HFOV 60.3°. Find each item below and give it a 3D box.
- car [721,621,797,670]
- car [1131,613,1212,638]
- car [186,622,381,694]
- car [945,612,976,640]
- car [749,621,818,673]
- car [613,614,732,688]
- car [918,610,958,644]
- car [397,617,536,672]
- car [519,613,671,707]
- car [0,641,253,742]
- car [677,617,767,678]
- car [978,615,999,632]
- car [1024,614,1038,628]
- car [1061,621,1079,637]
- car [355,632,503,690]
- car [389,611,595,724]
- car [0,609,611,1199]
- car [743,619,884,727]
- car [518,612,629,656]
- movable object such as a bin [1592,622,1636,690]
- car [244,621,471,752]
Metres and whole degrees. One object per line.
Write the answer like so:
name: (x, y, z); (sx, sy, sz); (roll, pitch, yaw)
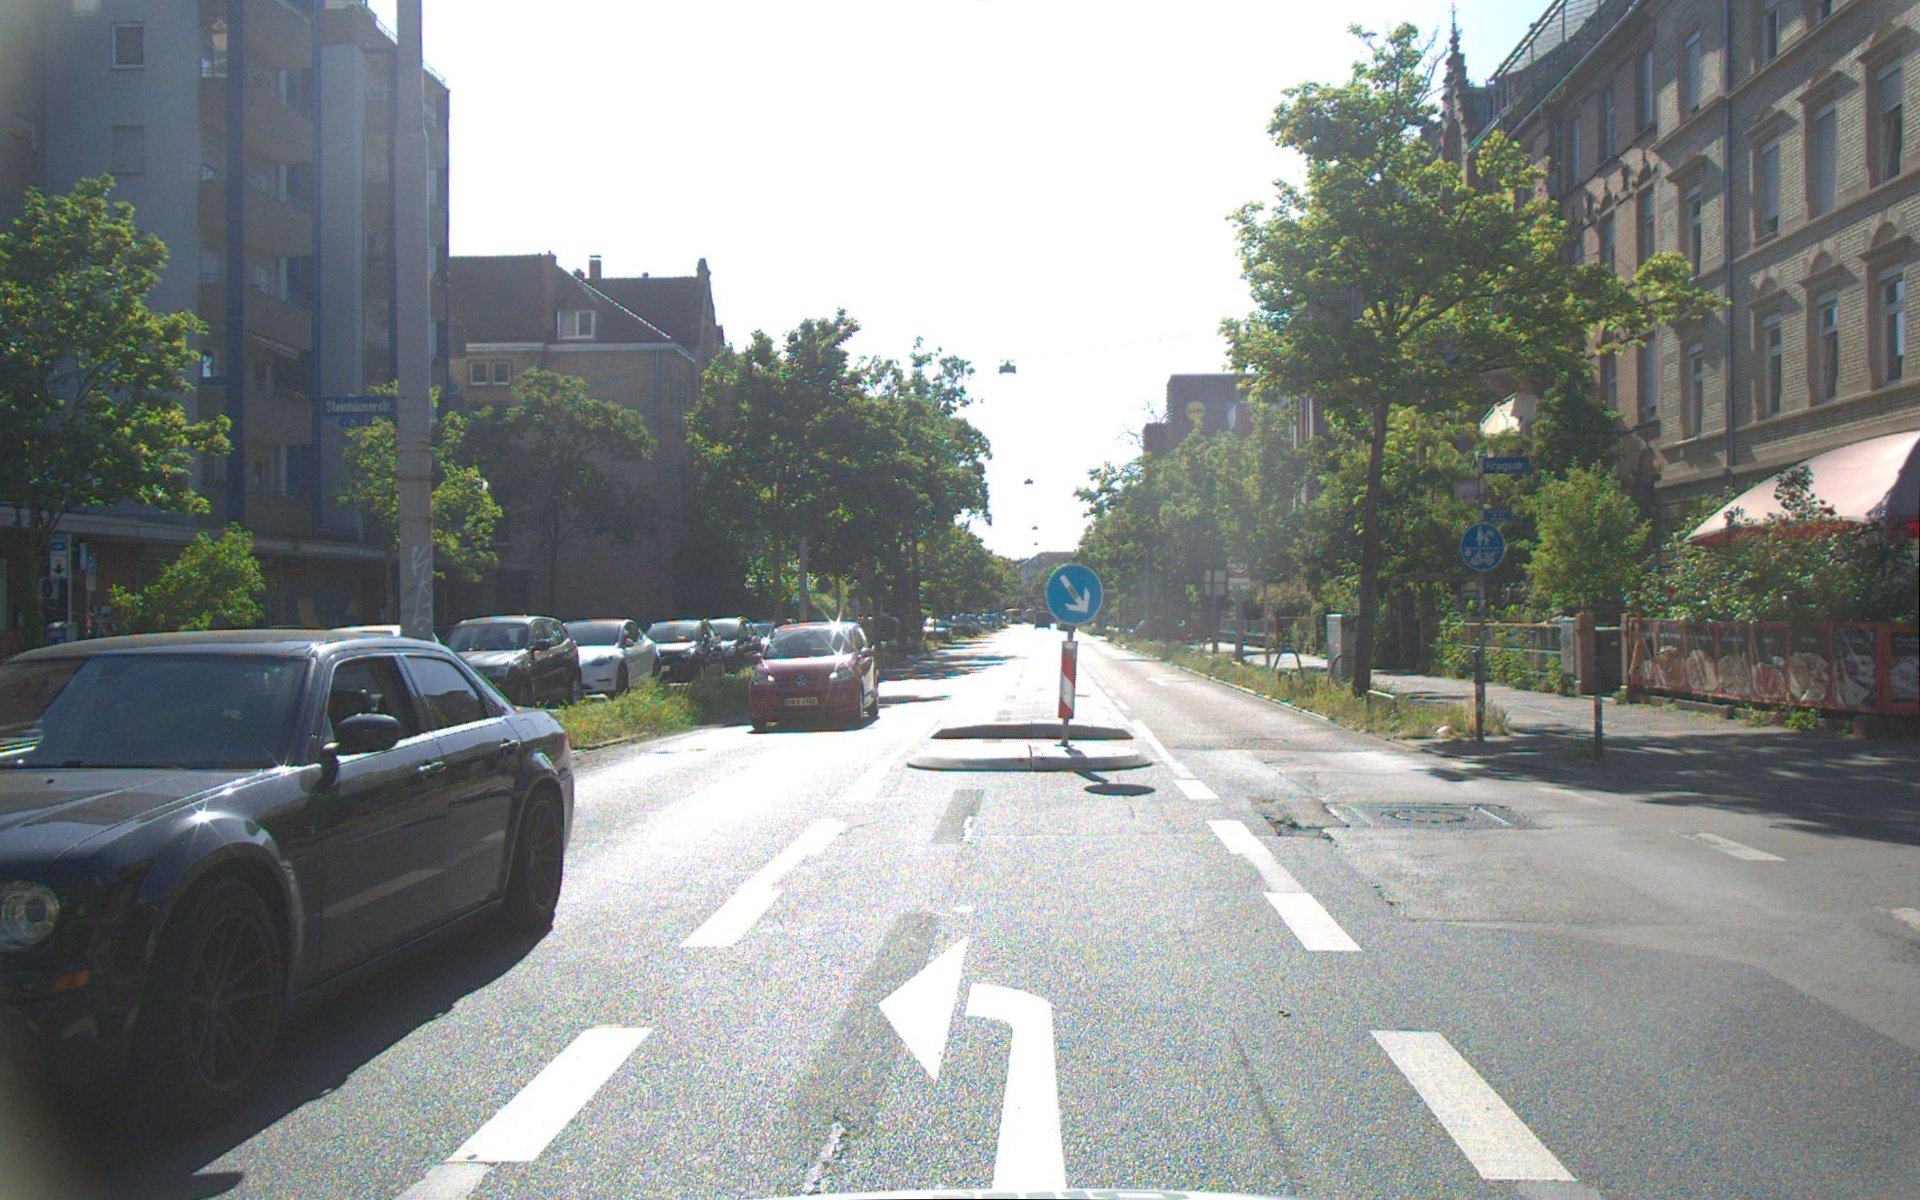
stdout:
car: (-6.229, 1.405, 51.639); (1.718, 1.422, 4.001); (-1, -1, 3)
car: (11.204, 1.343, 87.688); (3.936, 1.244, 1.789); (0, -1, -25)
car: (-16.194, 1.376, 39.749); (3.906, 1.636, 1.841); (-1, -1, -1)
car: (0.058, 1.986, 128.408); (2.017, 2.049, 4.631); (-1, -1, 5)
car: (-6.024, 1.581, 56.810); (1.726, 1.675, 4.001); (-1, -1, 3)
car: (-6.871, 1.190, 39.949); (1.824, 1.615, 4.002); (-2, -1, 5)
car: (-1.318, 1.640, 101.339); (1.951, 2.049, 4.208); (-1, -1, 5)
car: (-15.680, 1.406, 52.712); (3.906, 1.658, 1.687); (-1, -1, -1)
car: (-7.325, 1.156, 33.659); (1.849, 1.691, 4.531); (-3, -1, 2)
car: (-13.827, 1.459, 27.523); (1.851, 1.422, 4.532); (-1, -1, 5)
car: (-6.571, 1.282, 45.999); (1.715, 1.580, 4.001); (-1, -1, 3)
car: (3.058, 2.529, 177.702); (1.951, 1.725, 4.002); (-1, -1, 5)
car: (9.308, 2.730, 215.380); (1.721, 1.815, 4.002); (-1, -1, 4)
car: (12.320, 3.197, 184.960); (1.910, 1.738, 4.002); (-1, -1, 4)
car: (-16.070, 1.847, 50.172); (3.906, 1.658, 1.687); (-1, -1, -1)
car: (-7.564, 1.036, 27.210); (1.829, 1.656, 4.506); (-2, -1, 4)
car: (-2.914, 0.806, 6.514); (1.827, 1.484, 4.595); (-1, -1, 3)
car: (-2.104, 1.027, 24.549); (1.617, 1.453, 3.508); (-1, -1, 2)
car: (-15.121, 1.334, 64.820); (3.906, 1.658, 1.687); (-1, -1, -1)
movable object such as a bin: (11.322, 0.968, 28.641); (0.556, 1.153, 0.552); (-1, -1, 3)
car: (-7.937, 1.083, 22.118); (1.684, 1.545, 3.531); (-2, -1, 0)
